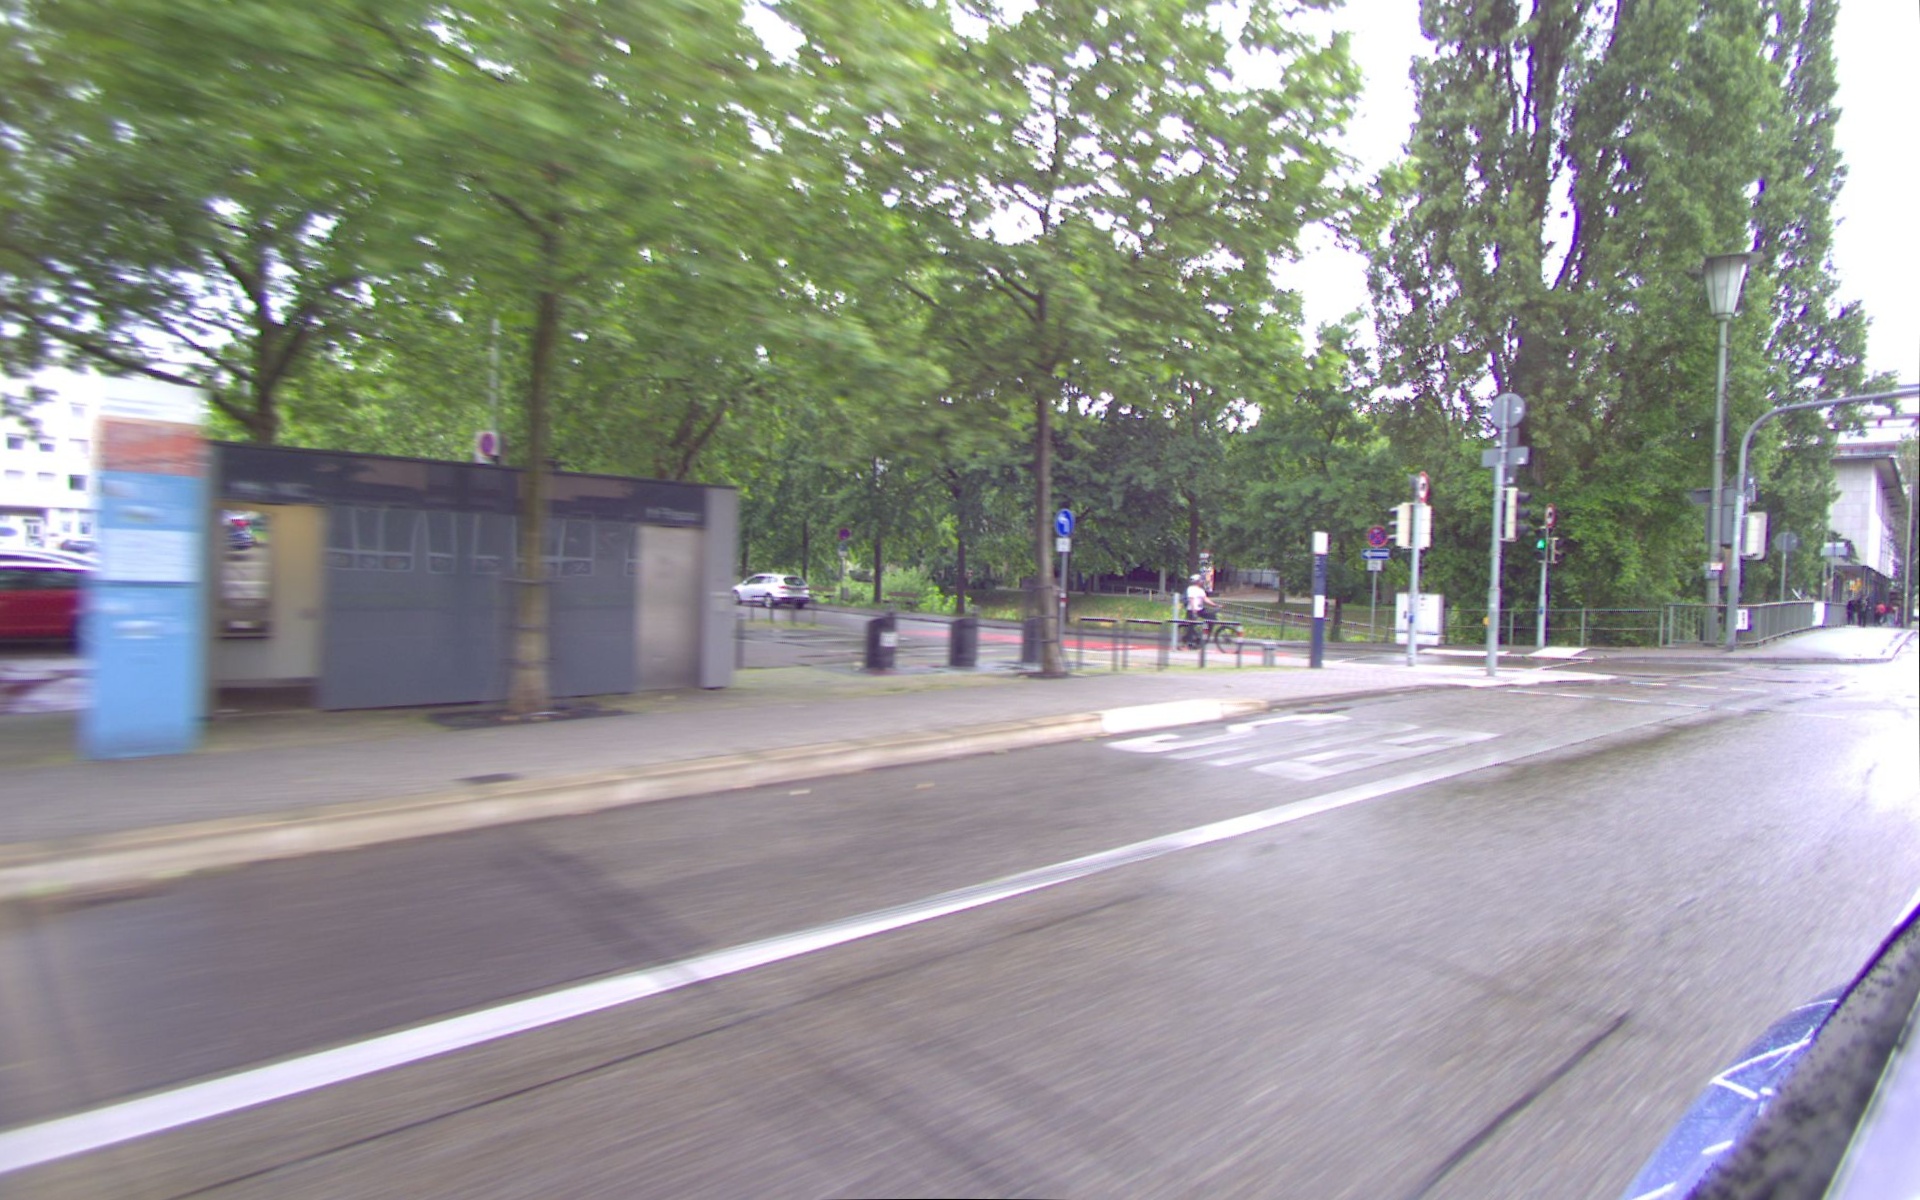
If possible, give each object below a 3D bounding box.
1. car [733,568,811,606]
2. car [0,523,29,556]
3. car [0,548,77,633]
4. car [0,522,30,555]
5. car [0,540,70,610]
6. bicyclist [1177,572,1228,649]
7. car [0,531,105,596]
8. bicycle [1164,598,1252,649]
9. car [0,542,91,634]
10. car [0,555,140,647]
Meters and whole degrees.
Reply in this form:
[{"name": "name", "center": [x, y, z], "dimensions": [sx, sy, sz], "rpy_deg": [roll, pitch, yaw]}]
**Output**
[{"name": "car", "center": [-8.288, -0.599, 44.464], "dimensions": [3.818, 1.481, 1.444], "rpy_deg": [4, 3, 44]}, {"name": "car", "center": [-47.849, -2.959, 49.130], "dimensions": [1.636, 1.566, 3.867], "rpy_deg": [2, 2, 44]}, {"name": "car", "center": [-19.899, -0.245, 20.033], "dimensions": [3.546, 1.612, 1.531], "rpy_deg": [3, 2, -40]}, {"name": "car", "center": [-44.522, -2.790, 45.123], "dimensions": [1.636, 1.441, 4.438], "rpy_deg": [2, 2, 44]}, {"name": "car", "center": [-23.842, -0.657, 24.345], "dimensions": [3.550, 1.612, 1.530], "rpy_deg": [2, 2, -44]}, {"name": "bicyclist", "center": [5.848, 0.226, 24.373], "dimensions": [0.980, 1.792, 0.788], "rpy_deg": [2, 2, 31]}, {"name": "car", "center": [-27.233, -1.092, 28.510], "dimensions": [1.967, 1.690, 4.558], "rpy_deg": [5, 2, 43]}, {"name": "bicycle", "center": [5.955, 0.539, 24.331], "dimensions": [1.918, 1.108, 0.643], "rpy_deg": [3, 2, 31]}, {"name": "car", "center": [-18.215, -0.264, 18.416], "dimensions": [3.549, 1.612, 1.570], "rpy_deg": [2, 2, -43]}, {"name": "car", "center": [-16.289, -0.011, 16.932], "dimensions": [1.527, 1.445, 3.779], "rpy_deg": [5, 2, 41]}]
